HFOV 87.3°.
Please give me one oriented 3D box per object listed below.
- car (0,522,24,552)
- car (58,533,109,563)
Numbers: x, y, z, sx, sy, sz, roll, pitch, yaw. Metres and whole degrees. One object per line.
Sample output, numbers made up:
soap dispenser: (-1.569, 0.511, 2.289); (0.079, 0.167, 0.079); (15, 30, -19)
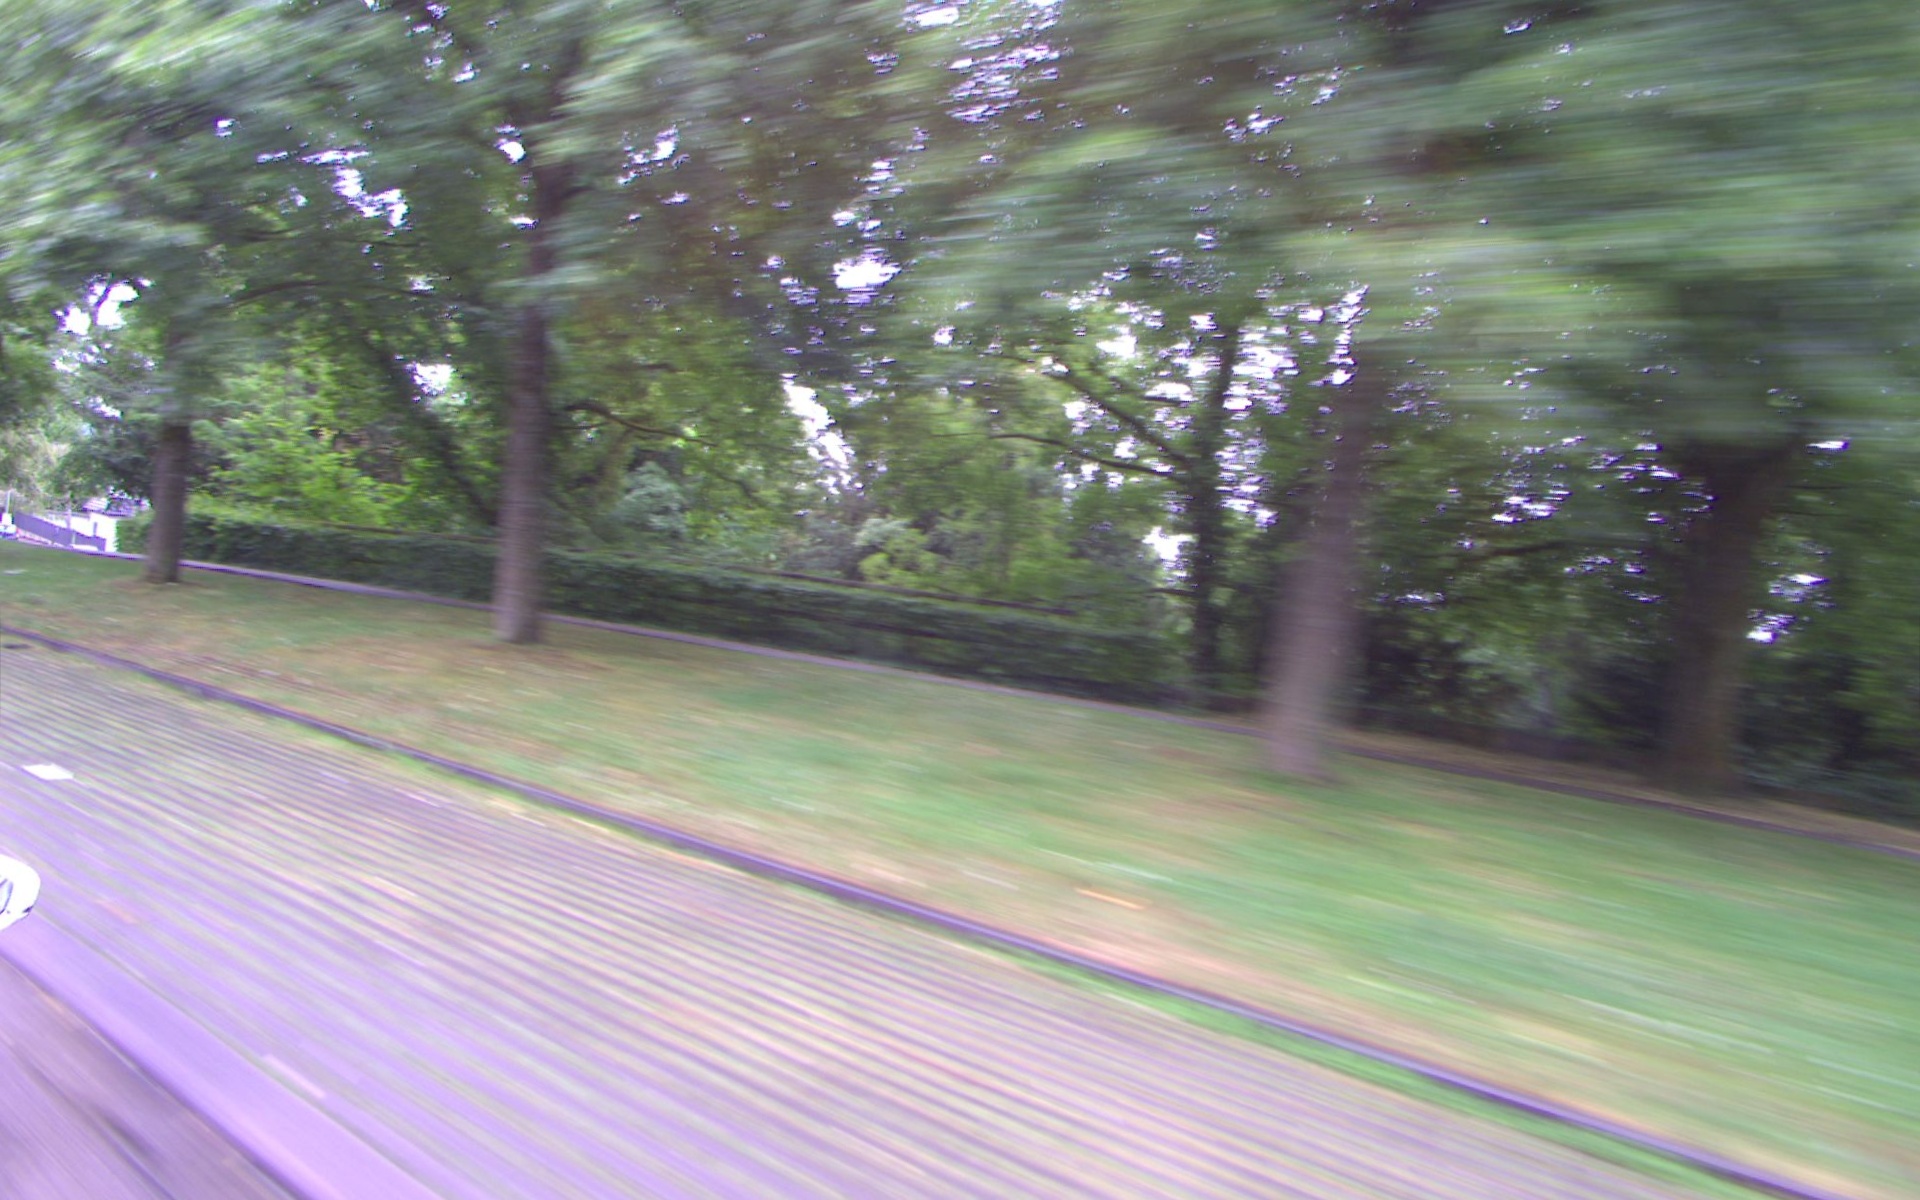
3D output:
car: (-76.661, -5.129, 80.161); (3.933, 2.040, 1.995); (8, 2, 32)
car: (-58.065, -3.456, 66.633); (3.943, 1.650, 1.806); (4, -2, 39)
